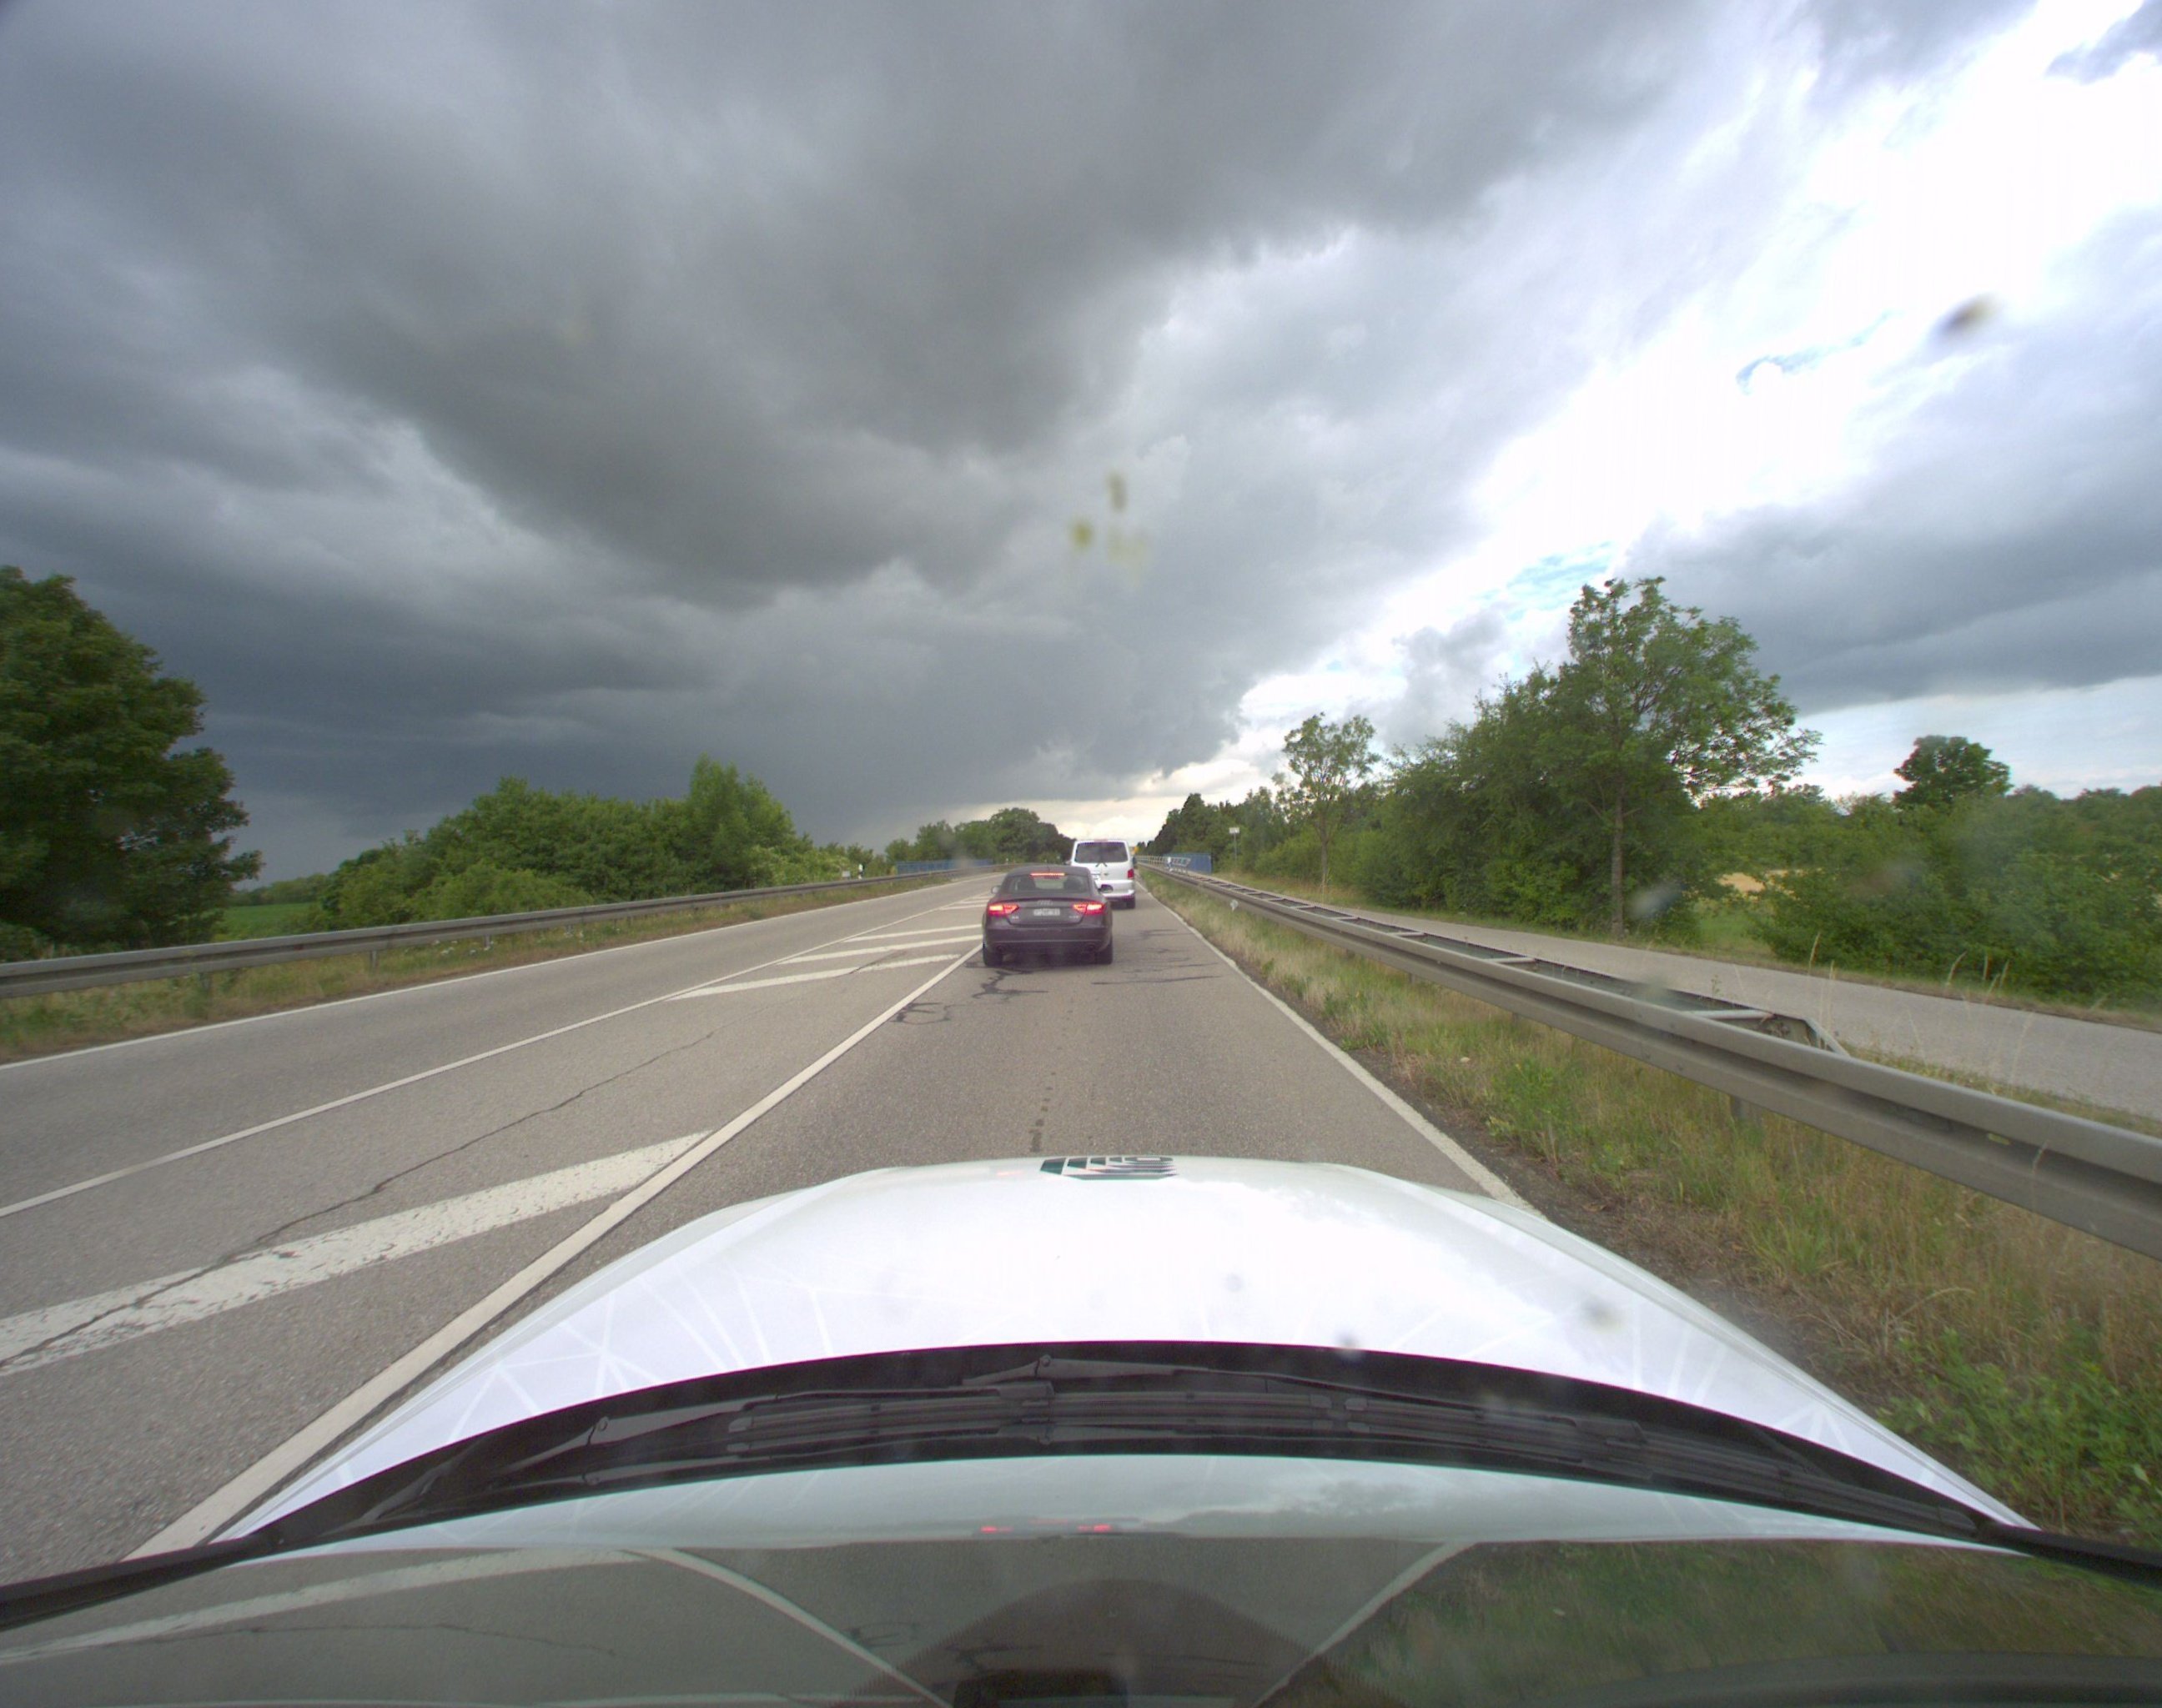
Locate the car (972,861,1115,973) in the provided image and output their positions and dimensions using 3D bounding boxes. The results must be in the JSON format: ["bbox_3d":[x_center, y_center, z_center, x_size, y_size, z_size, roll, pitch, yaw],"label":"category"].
[{"bbox_3d":[-0.422,0.842,12.607,1.815,1.381,4.073,-2,0,2],"label":"car"}]

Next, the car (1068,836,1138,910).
[{"bbox_3d":[0.650,0.534,23.919,1.821,1.935,4.001,-2,0,2],"label":"car"}]
